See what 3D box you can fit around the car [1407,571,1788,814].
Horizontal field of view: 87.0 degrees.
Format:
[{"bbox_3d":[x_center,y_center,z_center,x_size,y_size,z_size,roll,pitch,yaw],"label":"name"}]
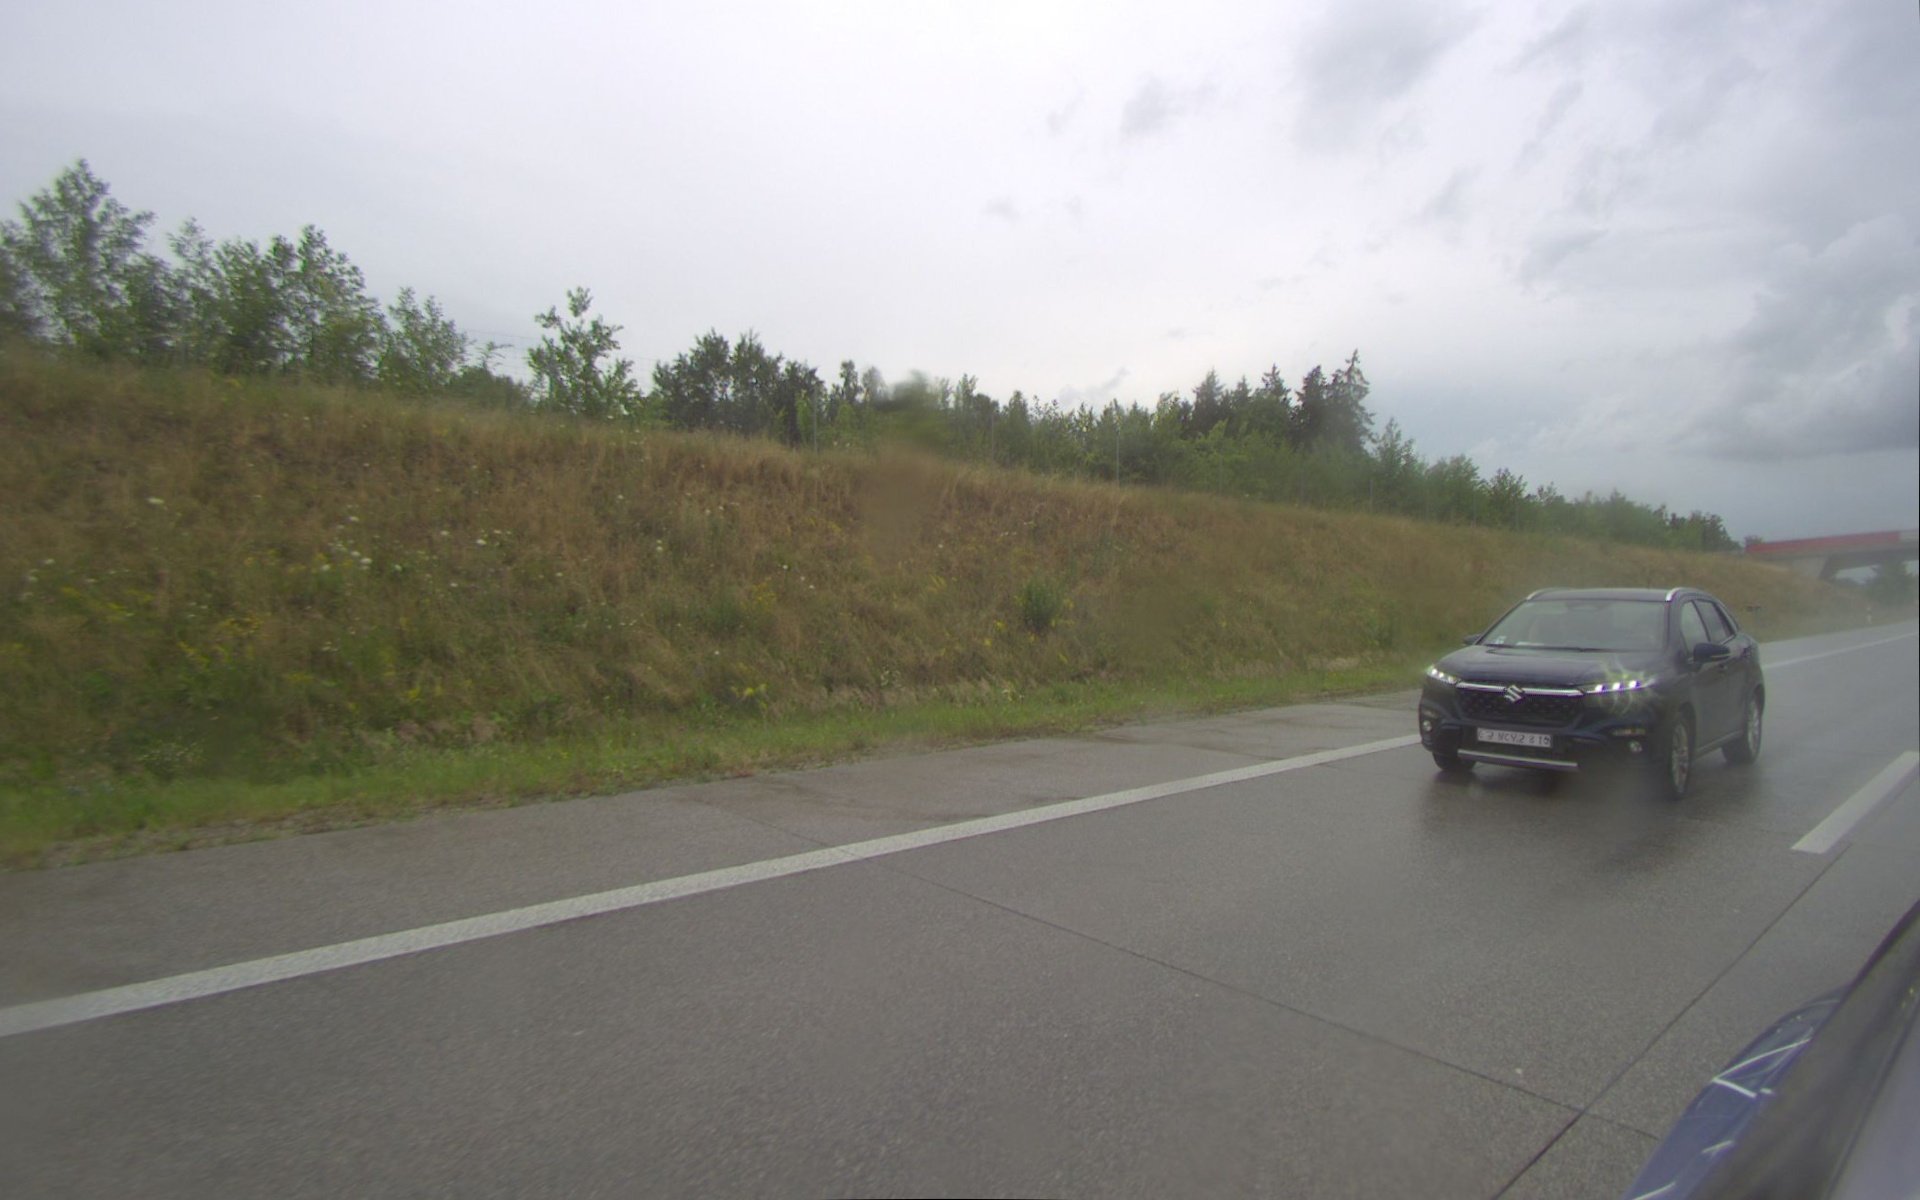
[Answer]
[{"bbox_3d":[5.496,0.611,8.575,3.570,1.596,1.896,0,0,-43],"label":"car"}]
